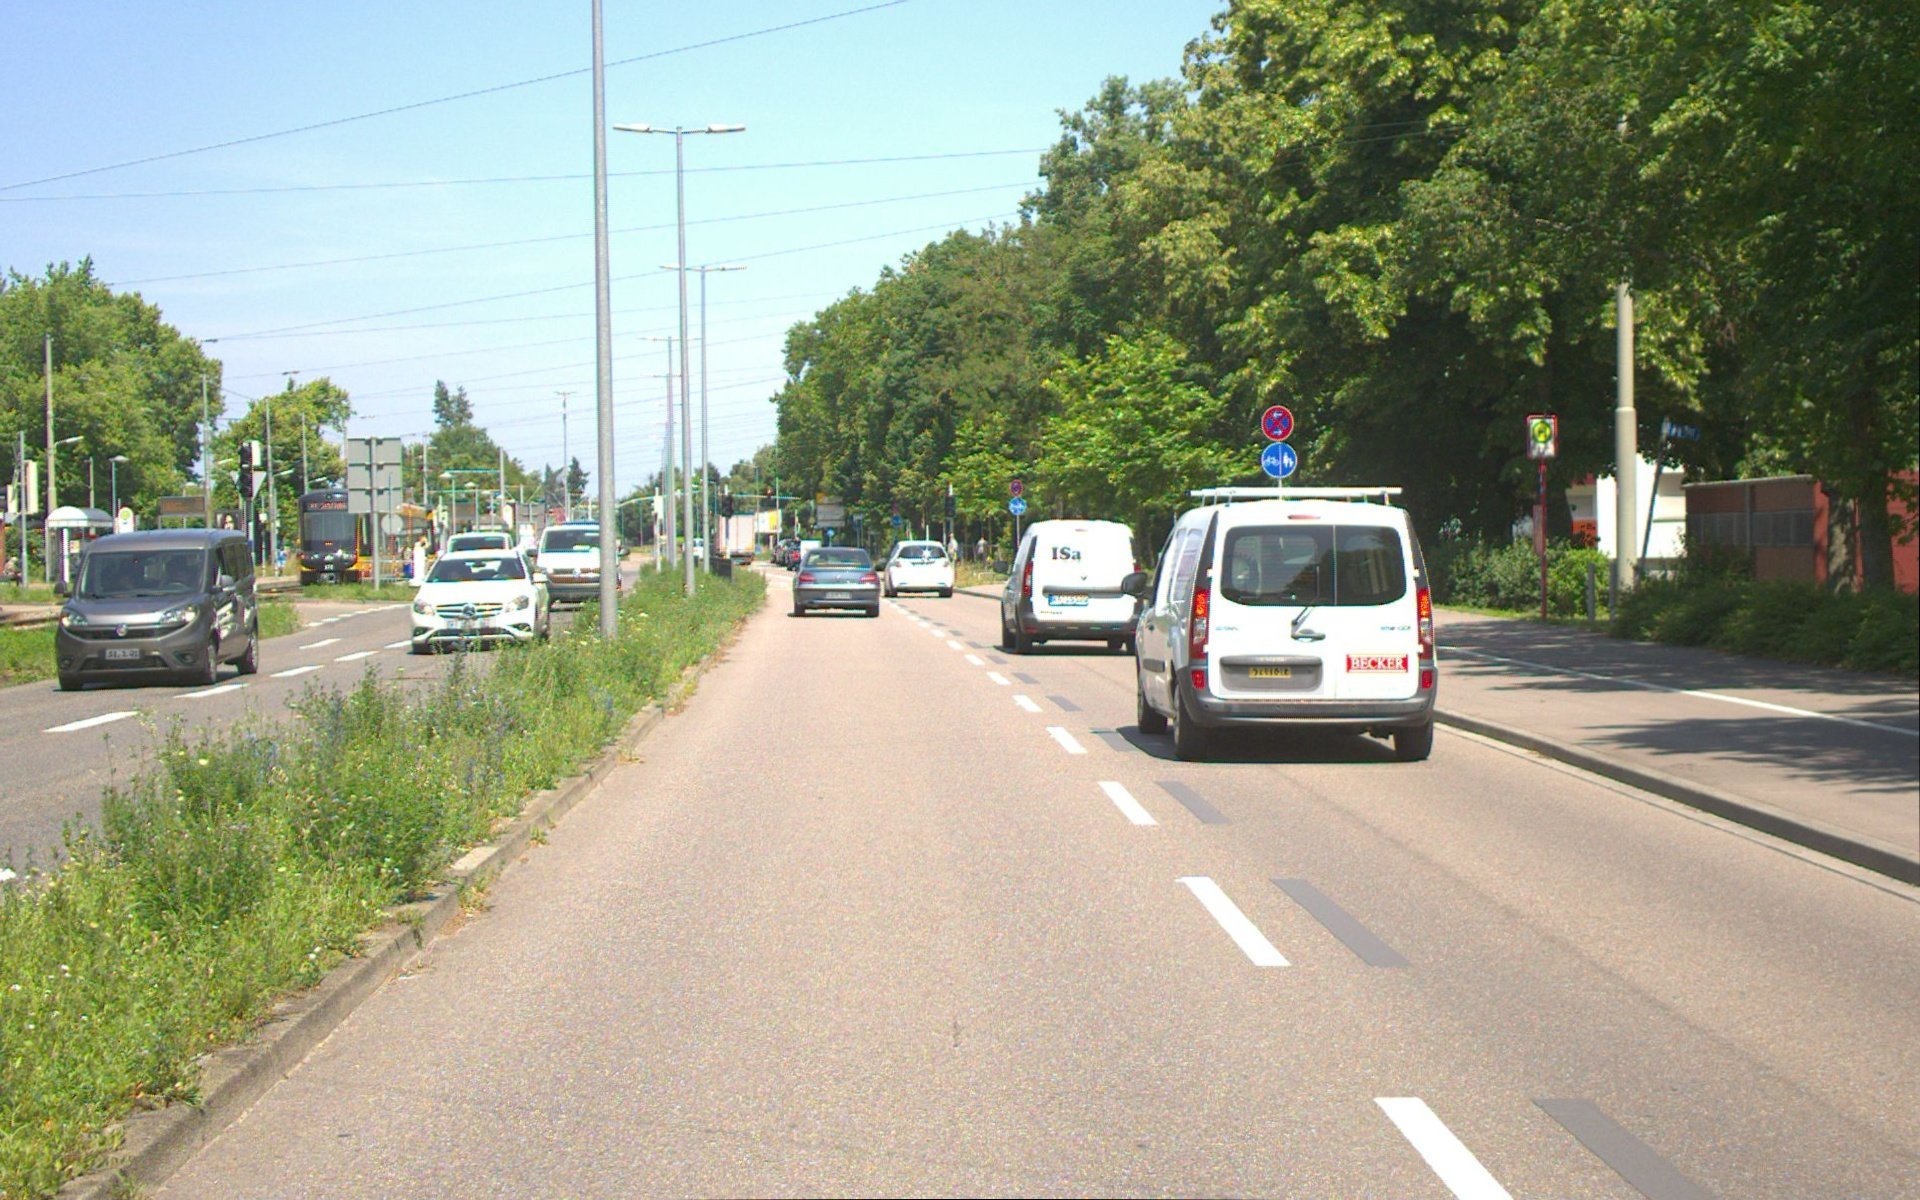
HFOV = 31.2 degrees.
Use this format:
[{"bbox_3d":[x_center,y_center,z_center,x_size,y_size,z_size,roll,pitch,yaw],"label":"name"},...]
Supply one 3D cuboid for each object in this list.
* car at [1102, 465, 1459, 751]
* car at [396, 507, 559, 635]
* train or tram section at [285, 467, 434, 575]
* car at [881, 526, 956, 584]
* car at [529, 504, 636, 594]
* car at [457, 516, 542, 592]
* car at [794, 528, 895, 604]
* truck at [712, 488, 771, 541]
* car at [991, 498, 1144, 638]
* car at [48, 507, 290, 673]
[{"bbox_3d":[2.215,0.008,24.939,1.824,1.875,4.457,0,1,-4],"label":"car"},{"bbox_3d":[-7.002,-0.456,50.255,1.830,1.732,4.038,-2,1,-1],"label":"car"},{"bbox_3d":[-23.405,-3.062,136.369,2.787,3.655,37.526,0,1,-5],"label":"train or tram section"},{"bbox_3d":[-1.149,-1.224,92.668,1.803,1.534,4.001,0,1,-4],"label":"car"},{"bbox_3d":[-8.485,-1.170,77.698,1.830,1.899,5.567,-2,1,-1],"label":"car"},{"bbox_3d":[-12.959,-1.331,96.944,1.888,2.010,5.083,-3,1,-3],"label":"car"},{"bbox_3d":[-2.360,-0.704,69.294,1.801,1.481,4.001,0,1,-5],"label":"car"},{"bbox_3d":[-16.183,-6.309,253.859,3.898,3.799,10.795,-1,1,-5],"label":"truck"},{"bbox_3d":[1.435,-0.476,47.123,1.727,1.807,4.001,1,2,-3],"label":"car"},{"bbox_3d":[-9.331,-0.170,40.905,1.830,1.795,4.615,-2,1,-1],"label":"car"}]
